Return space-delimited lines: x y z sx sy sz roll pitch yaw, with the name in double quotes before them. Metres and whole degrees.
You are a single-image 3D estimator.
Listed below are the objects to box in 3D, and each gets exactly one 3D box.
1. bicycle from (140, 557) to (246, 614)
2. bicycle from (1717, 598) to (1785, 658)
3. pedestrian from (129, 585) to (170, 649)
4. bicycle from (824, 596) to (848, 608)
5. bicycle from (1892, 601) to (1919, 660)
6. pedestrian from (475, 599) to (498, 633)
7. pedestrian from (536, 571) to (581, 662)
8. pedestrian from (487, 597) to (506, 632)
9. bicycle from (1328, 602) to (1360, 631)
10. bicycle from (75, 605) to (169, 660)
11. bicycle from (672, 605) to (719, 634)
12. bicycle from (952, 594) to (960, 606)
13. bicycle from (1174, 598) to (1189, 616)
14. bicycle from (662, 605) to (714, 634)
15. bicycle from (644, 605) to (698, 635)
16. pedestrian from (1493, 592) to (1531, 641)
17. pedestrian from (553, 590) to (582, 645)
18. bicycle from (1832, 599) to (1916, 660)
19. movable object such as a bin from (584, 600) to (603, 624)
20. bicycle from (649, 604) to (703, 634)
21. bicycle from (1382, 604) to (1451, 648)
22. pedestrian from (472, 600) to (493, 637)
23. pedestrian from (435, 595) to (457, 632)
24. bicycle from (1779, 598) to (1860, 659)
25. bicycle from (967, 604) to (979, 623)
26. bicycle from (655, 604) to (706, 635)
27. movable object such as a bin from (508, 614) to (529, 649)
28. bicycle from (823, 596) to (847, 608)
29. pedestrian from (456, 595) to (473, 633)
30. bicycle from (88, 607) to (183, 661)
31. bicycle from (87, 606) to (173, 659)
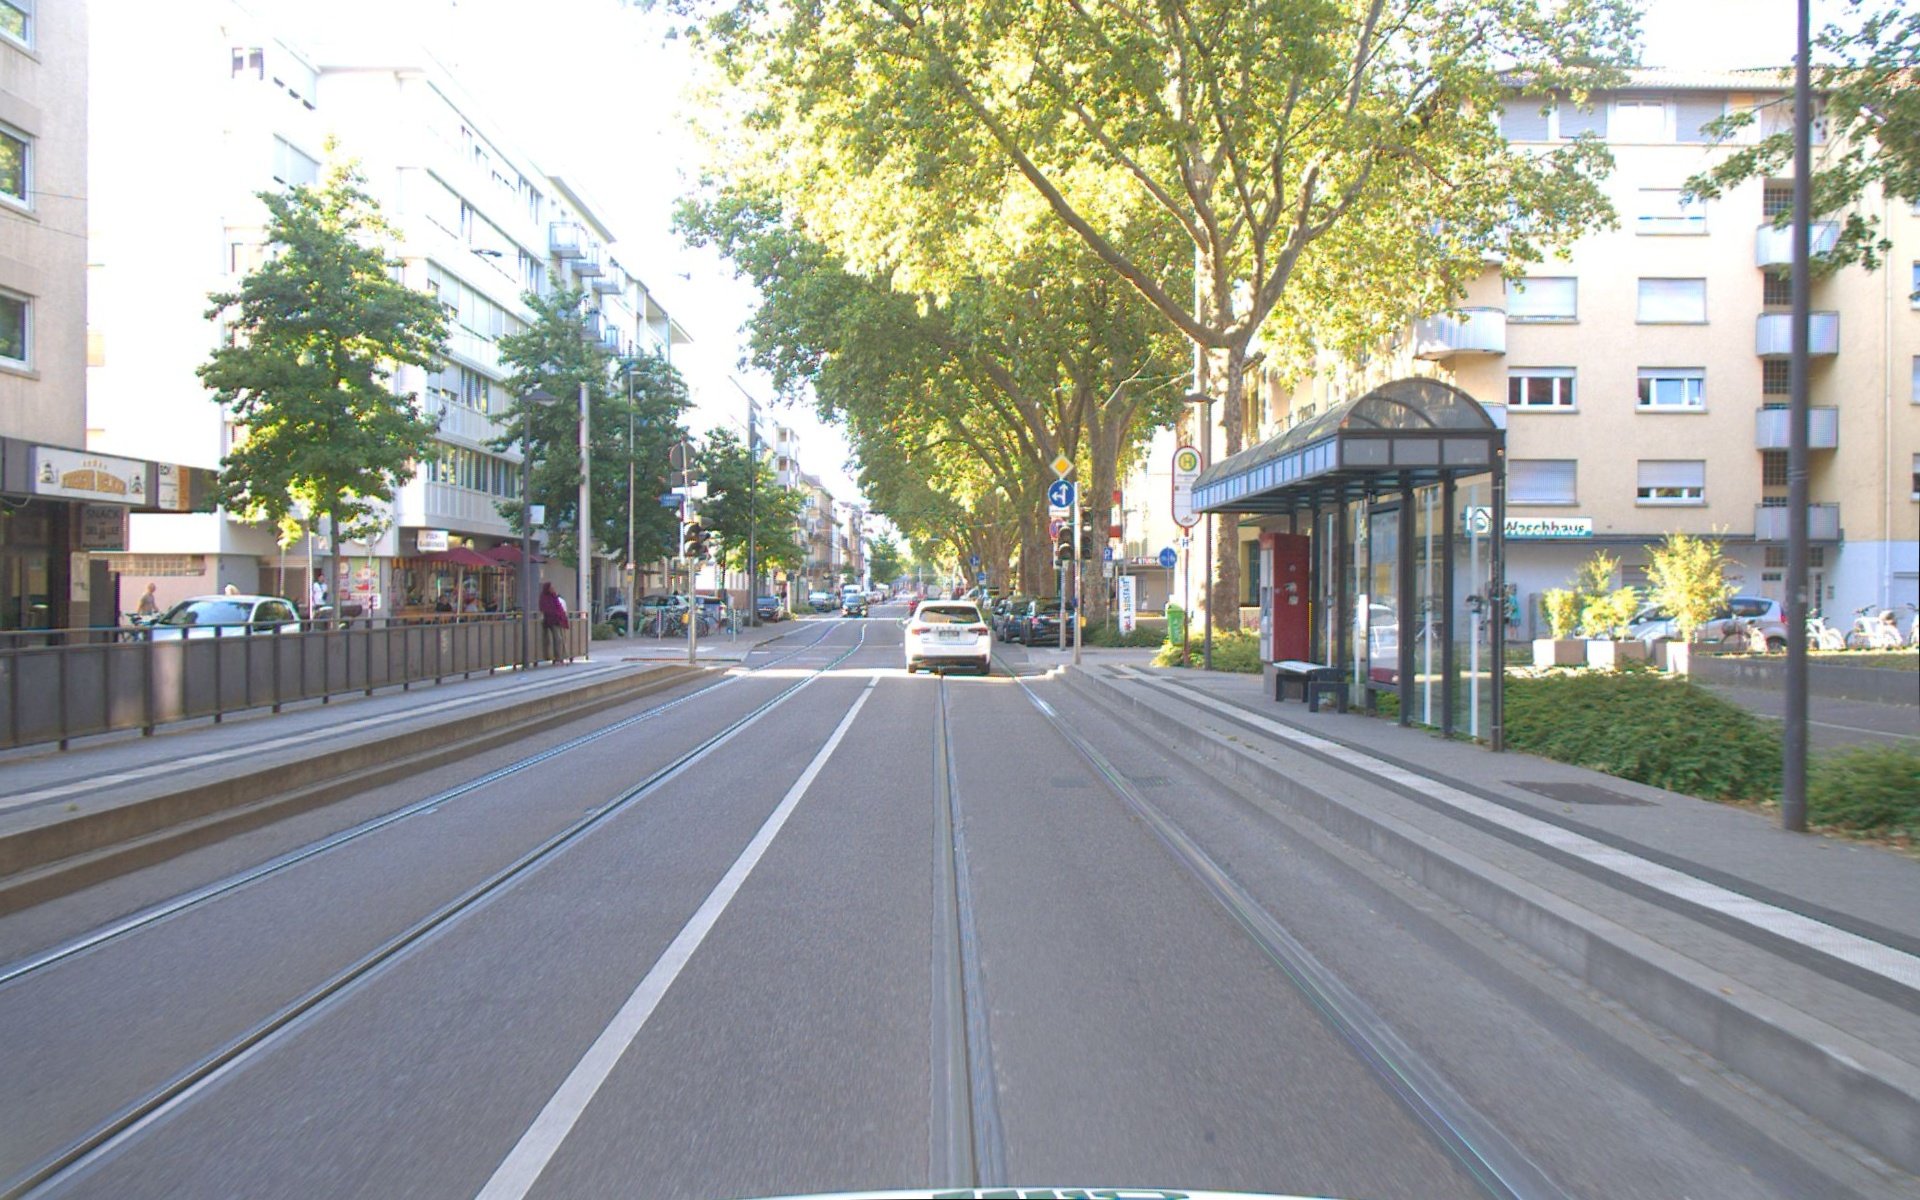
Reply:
"bicycle" -16.151 -0.302 34.894 2.004 1.177 0.568 0 0 -24
"bicycle" 16.211 0.553 33.938 0.587 1.177 1.698 -2 0 2
"pedestrian" -21.707 0.450 44.304 0.743 1.700 0.768 0 0 -7
"bicycle" -13.457 0.239 179.655 2.477 1.193 0.718 2 -2 -8
"bicycle" 19.785 0.612 33.393 0.715 1.177 2.050 -2 0 -1
"pedestrian" -17.299 0.595 60.480 0.659 1.219 0.655 0 0 -2
"pedestrian" -7.206 0.292 29.708 0.640 1.613 0.772 0 0 -1
"pedestrian" -16.208 0.510 57.858 0.506 1.219 0.558 0 0 -30
"bicycle" 13.699 0.571 59.081 0.559 1.014 1.778 -2 0 -6
"bicycle" -18.507 0.708 36.532 1.750 1.177 0.571 0 0 -8
"bicycle" -9.799 0.724 61.290 1.658 1.025 0.657 1 -1 -6
"bicycle" -0.352 -0.017 146.589 0.636 1.089 1.582 0 0 -3
"bicycle" 13.814 0.418 103.228 0.571 1.123 1.922 -2 0 -2
"bicycle" -9.850 0.716 59.948 1.794 1.025 0.657 1 -1 -6
"bicycle" -10.068 0.701 57.711 1.794 1.025 0.657 1 -1 -6
"pedestrian" 16.521 0.498 49.544 0.824 1.439 0.767 0 0 -10
"pedestrian" -11.533 0.514 48.586 0.711 1.583 0.768 0 0 -7
"bicycle" 18.514 0.586 33.549 0.623 1.177 1.982 -2 0 2
"movable object such as a bin" -16.156 0.520 72.939 0.664 1.074 0.622 0 0 0
"bicycle" -9.986 0.667 58.155 1.794 1.025 0.657 1 -1 -6
"bicycle" 12.830 0.726 46.477 1.767 1.177 0.740 -2 0 -23
"pedestrian" -16.055 0.628 55.614 0.501 1.219 0.564 0 0 1
"pedestrian" -16.854 0.444 54.257 0.557 1.219 0.506 0 0 -36
"bicycle" 17.300 0.566 33.335 0.588 1.177 1.696 -2 0 -5
"bicycle" 0.773 0.764 96.559 0.667 1.089 1.780 0 0 0
"bicycle" -9.502 0.648 56.241 1.658 1.025 0.657 1 -1 -6
"movable object such as a bin" -12.089 0.851 45.270 0.530 0.948 0.647 0 0 -18
"bicycle" -13.503 0.238 178.772 2.510 1.193 0.870 3 -2 -41
"pedestrian" -16.156 0.444 53.923 0.503 1.219 0.561 0 0 -17
"bicycle" -18.296 0.754 36.715 1.819 1.177 0.572 0 0 3
"bicycle" -18.752 0.723 37.383 1.745 1.177 0.572 0 0 10
